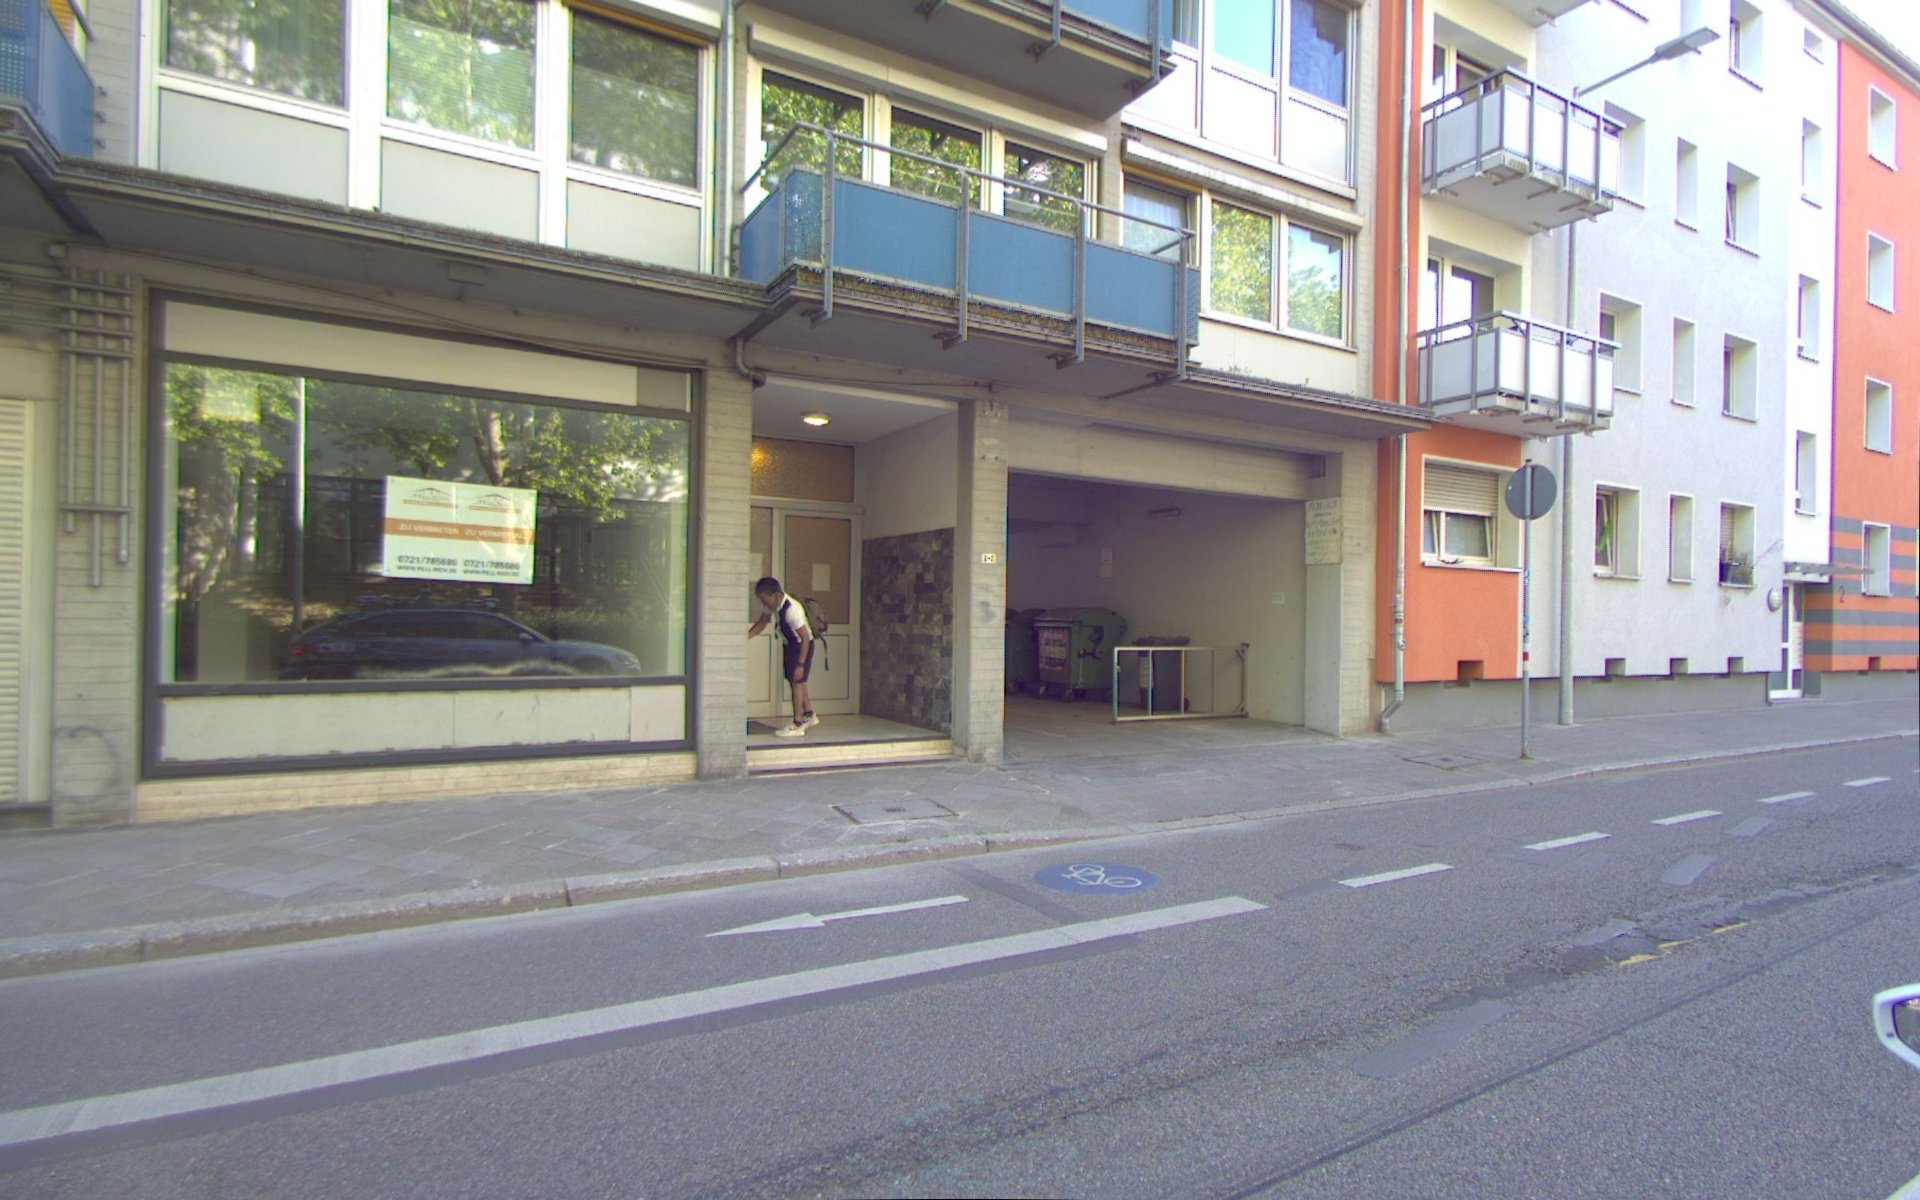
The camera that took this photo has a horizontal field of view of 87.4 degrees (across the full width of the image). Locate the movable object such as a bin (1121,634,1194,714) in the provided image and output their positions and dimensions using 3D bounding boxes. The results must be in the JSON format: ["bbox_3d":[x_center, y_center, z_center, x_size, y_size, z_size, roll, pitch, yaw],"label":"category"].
[{"bbox_3d":[2.851,1.060,14.521,0.707,1.089,0.735,2,0,-30],"label":"movable object such as a bin"}]

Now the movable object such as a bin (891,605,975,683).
[{"bbox_3d":[-0.548,0.858,19.929,1.182,1.452,1.300,2,0,-30],"label":"movable object such as a bin"}]

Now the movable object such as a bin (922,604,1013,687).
[{"bbox_3d":[0.120,0.827,18.765,1.182,1.452,1.300,2,0,-30],"label":"movable object such as a bin"}]

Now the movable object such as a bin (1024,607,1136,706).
[{"bbox_3d":[1.873,0.866,15.804,1.182,1.452,1.300,2,0,-30],"label":"movable object such as a bin"}]

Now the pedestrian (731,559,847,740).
[{"bbox_3d":[-1.597,0.451,9.373,0.914,1.606,0.561,1,0,-29],"label":"pedestrian"}]

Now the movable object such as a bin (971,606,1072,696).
[{"bbox_3d":[1.033,0.847,17.191,1.182,1.452,1.300,2,0,-30],"label":"movable object such as a bin"}]
